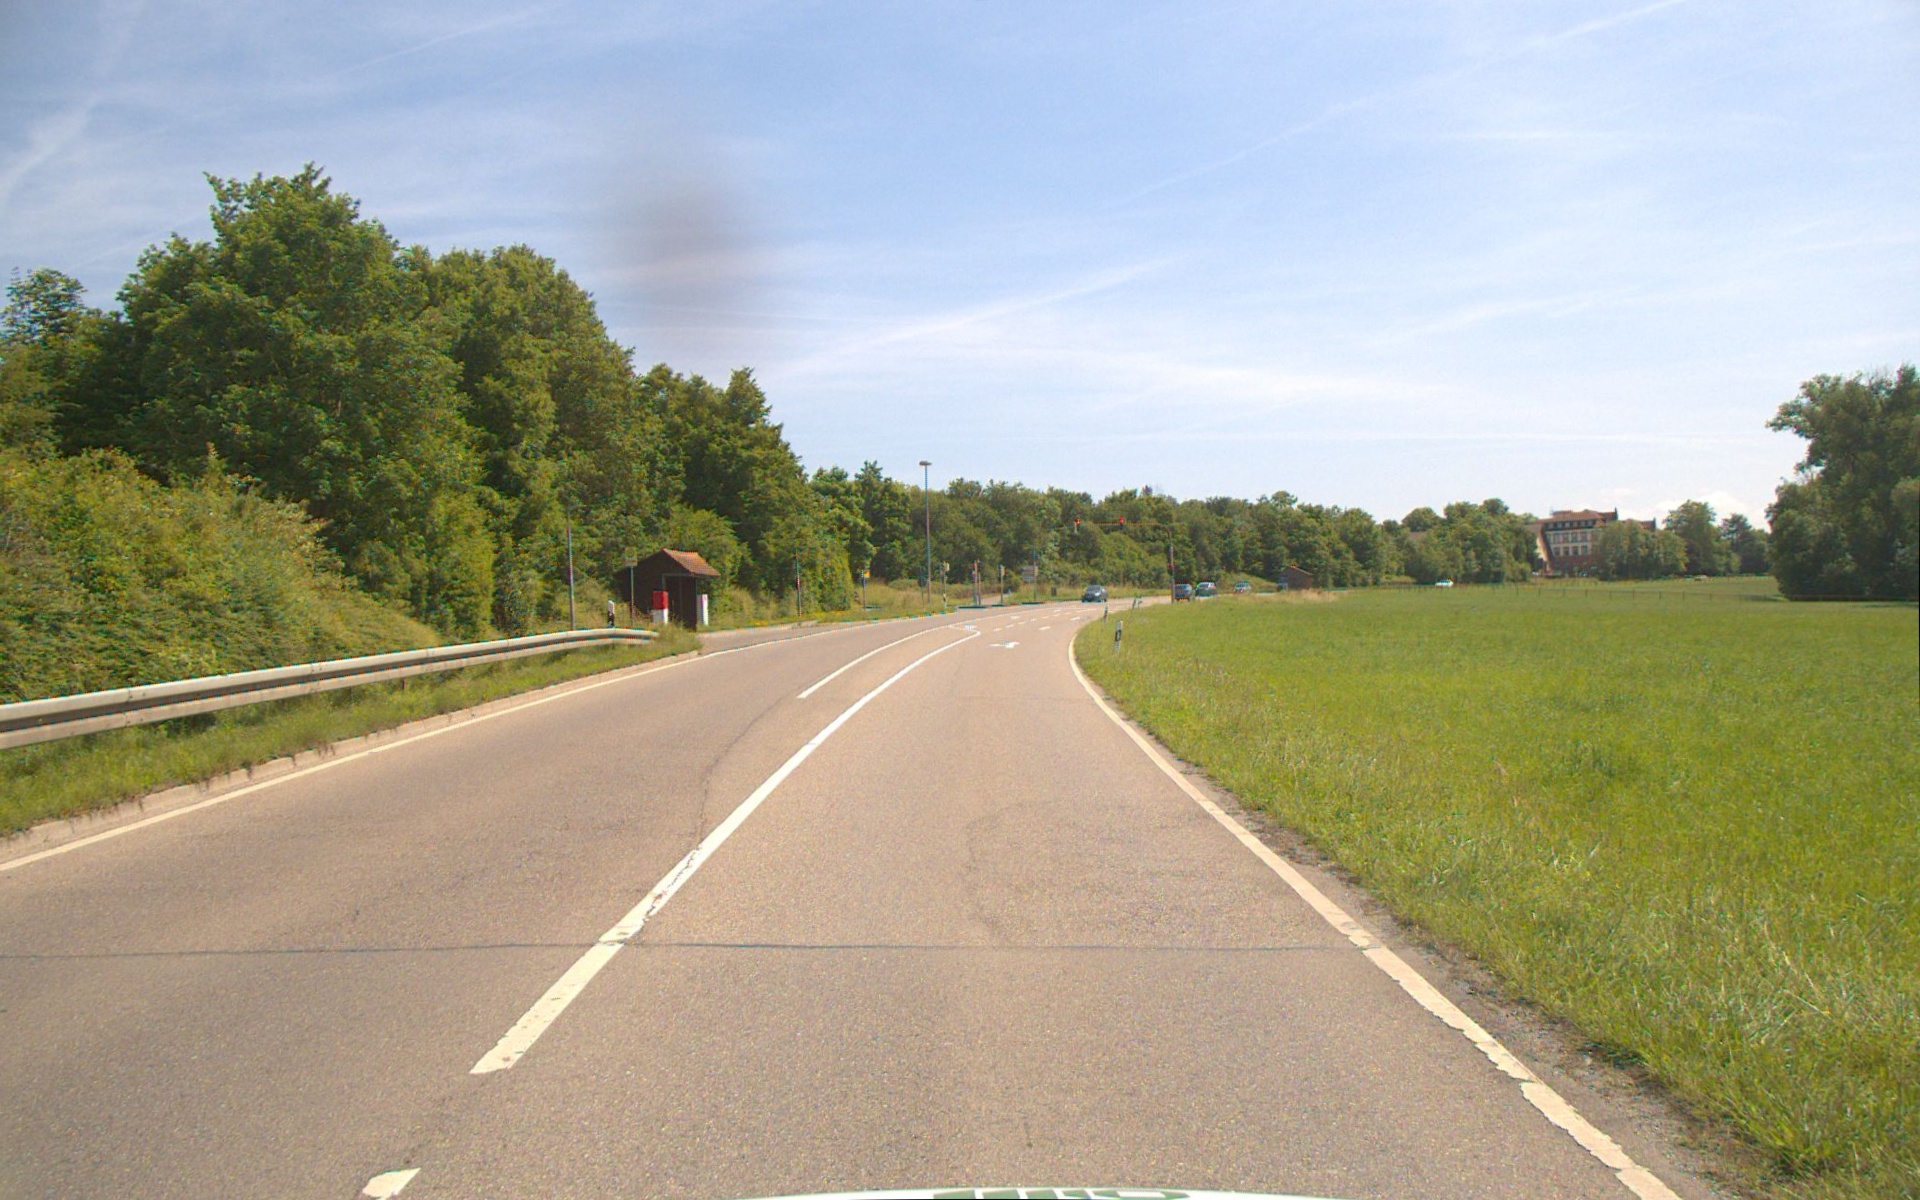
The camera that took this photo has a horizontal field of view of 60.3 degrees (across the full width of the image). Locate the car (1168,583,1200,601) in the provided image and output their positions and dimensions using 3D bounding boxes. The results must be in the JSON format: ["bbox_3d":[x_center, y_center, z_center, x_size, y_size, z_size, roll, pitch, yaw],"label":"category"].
[{"bbox_3d":[21.092,-0.741,155.562,1.953,1.601,3.999,0,0,23],"label":"car"}]

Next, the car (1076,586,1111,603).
[{"bbox_3d":[12.205,-0.524,151.003,1.755,1.500,4.308,0,0,25],"label":"car"}]

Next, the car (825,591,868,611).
[{"bbox_3d":[-10.499,0.109,152.494,1.983,1.825,3.939,0,0,-42],"label":"car"}]

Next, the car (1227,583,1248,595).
[{"bbox_3d":[35.455,-1.413,211.377,1.672,1.509,3.830,0,0,24],"label":"car"}]

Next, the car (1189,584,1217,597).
[{"bbox_3d":[28.507,-1.100,193.981,1.936,1.589,4.184,0,0,27],"label":"car"}]
